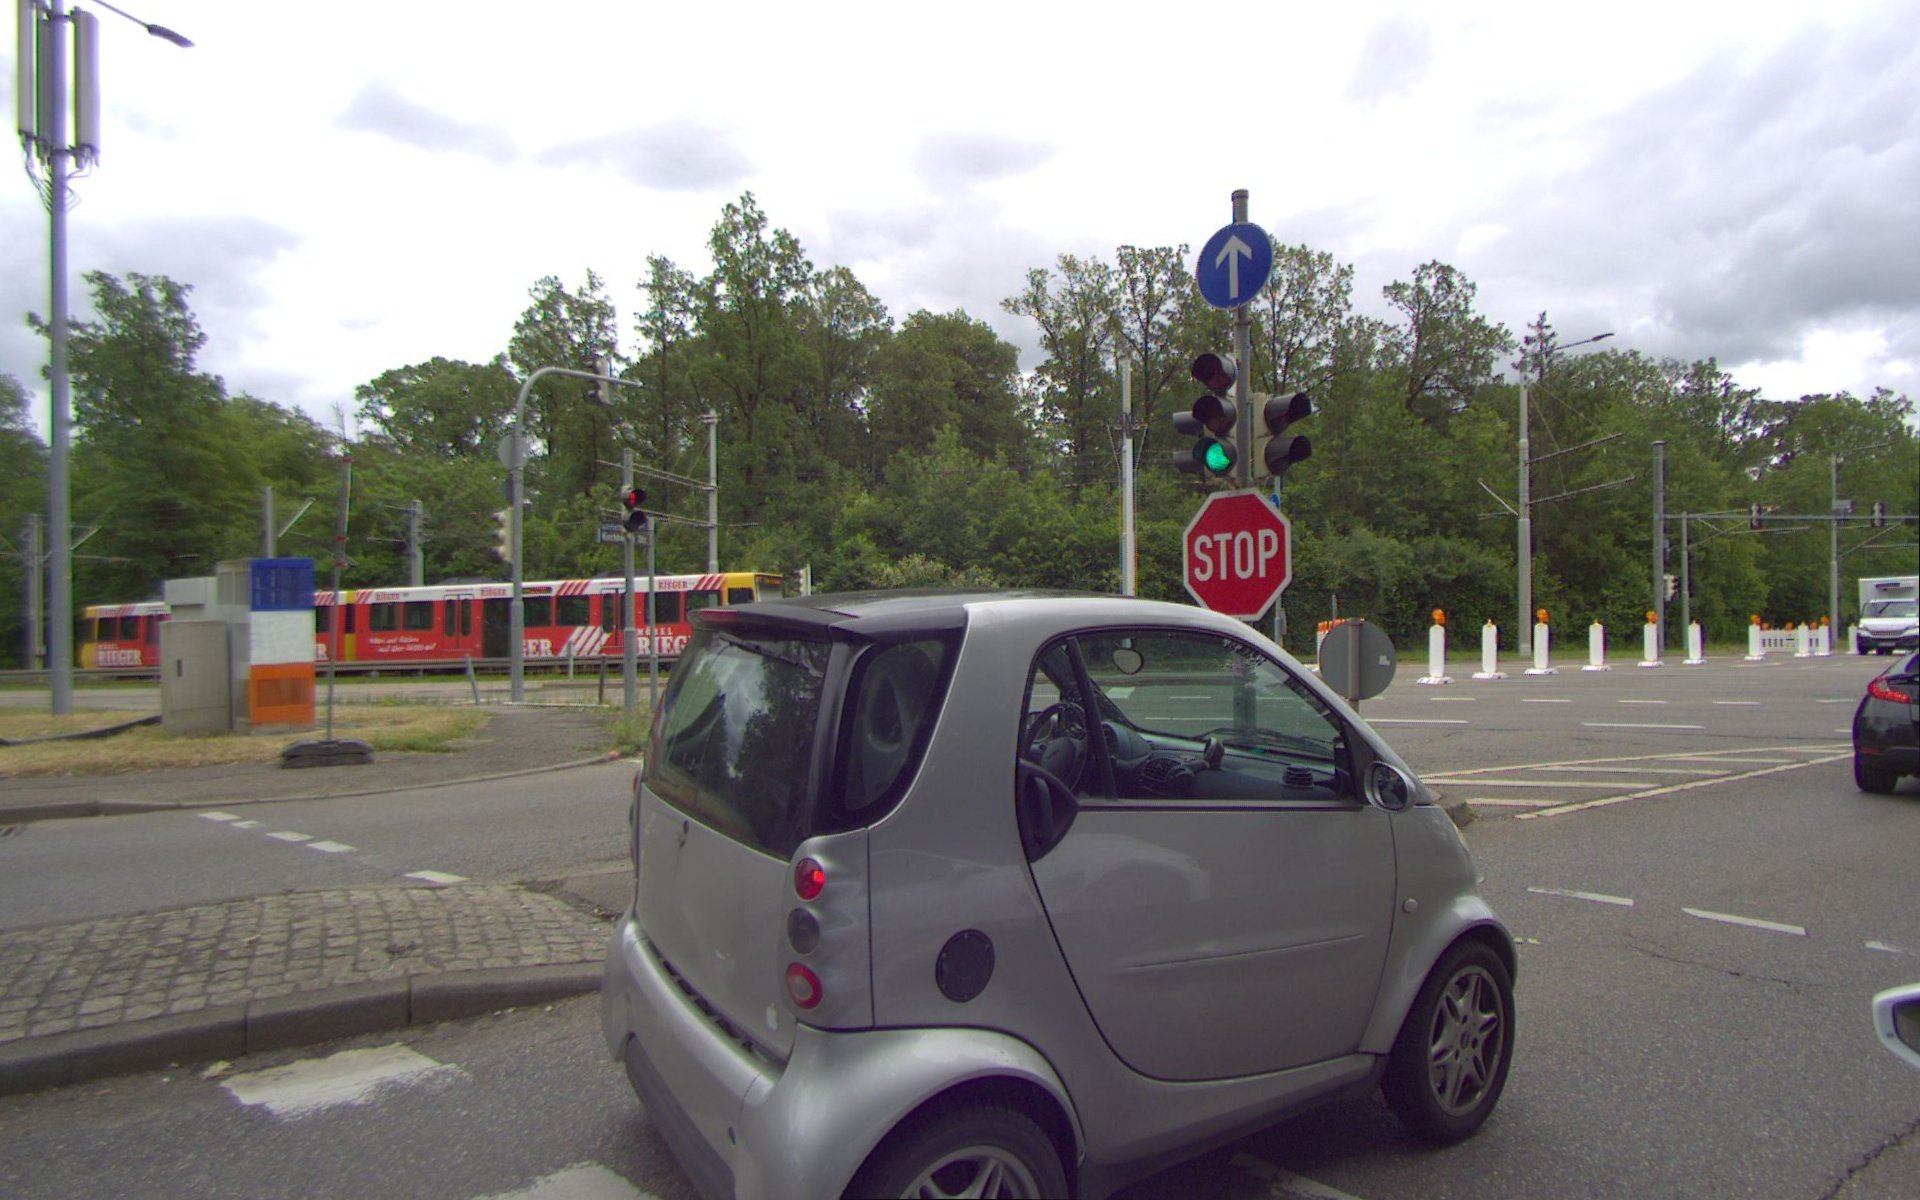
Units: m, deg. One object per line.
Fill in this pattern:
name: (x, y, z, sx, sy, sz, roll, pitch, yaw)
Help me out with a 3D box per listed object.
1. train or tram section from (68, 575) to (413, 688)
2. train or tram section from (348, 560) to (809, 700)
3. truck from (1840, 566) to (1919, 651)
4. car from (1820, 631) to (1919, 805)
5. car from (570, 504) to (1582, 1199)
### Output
train or tram section: (-32.186, 1.222, 44.440, 18.366, 4.476, 2.965, 1, -2, 22)
train or tram section: (-14.720, 0.982, 38.082, 18.174, 4.711, 2.958, 1, -2, 17)
truck: (38.791, 0.445, 41.548, 7.096, 3.266, 2.429, 2, -3, -40)
car: (9.170, 0.960, 8.782, 3.443, 1.379, 1.762, 1, -3, -36)
car: (0.402, 0.697, 3.001, 2.698, 1.607, 1.449, 1, -3, -33)
